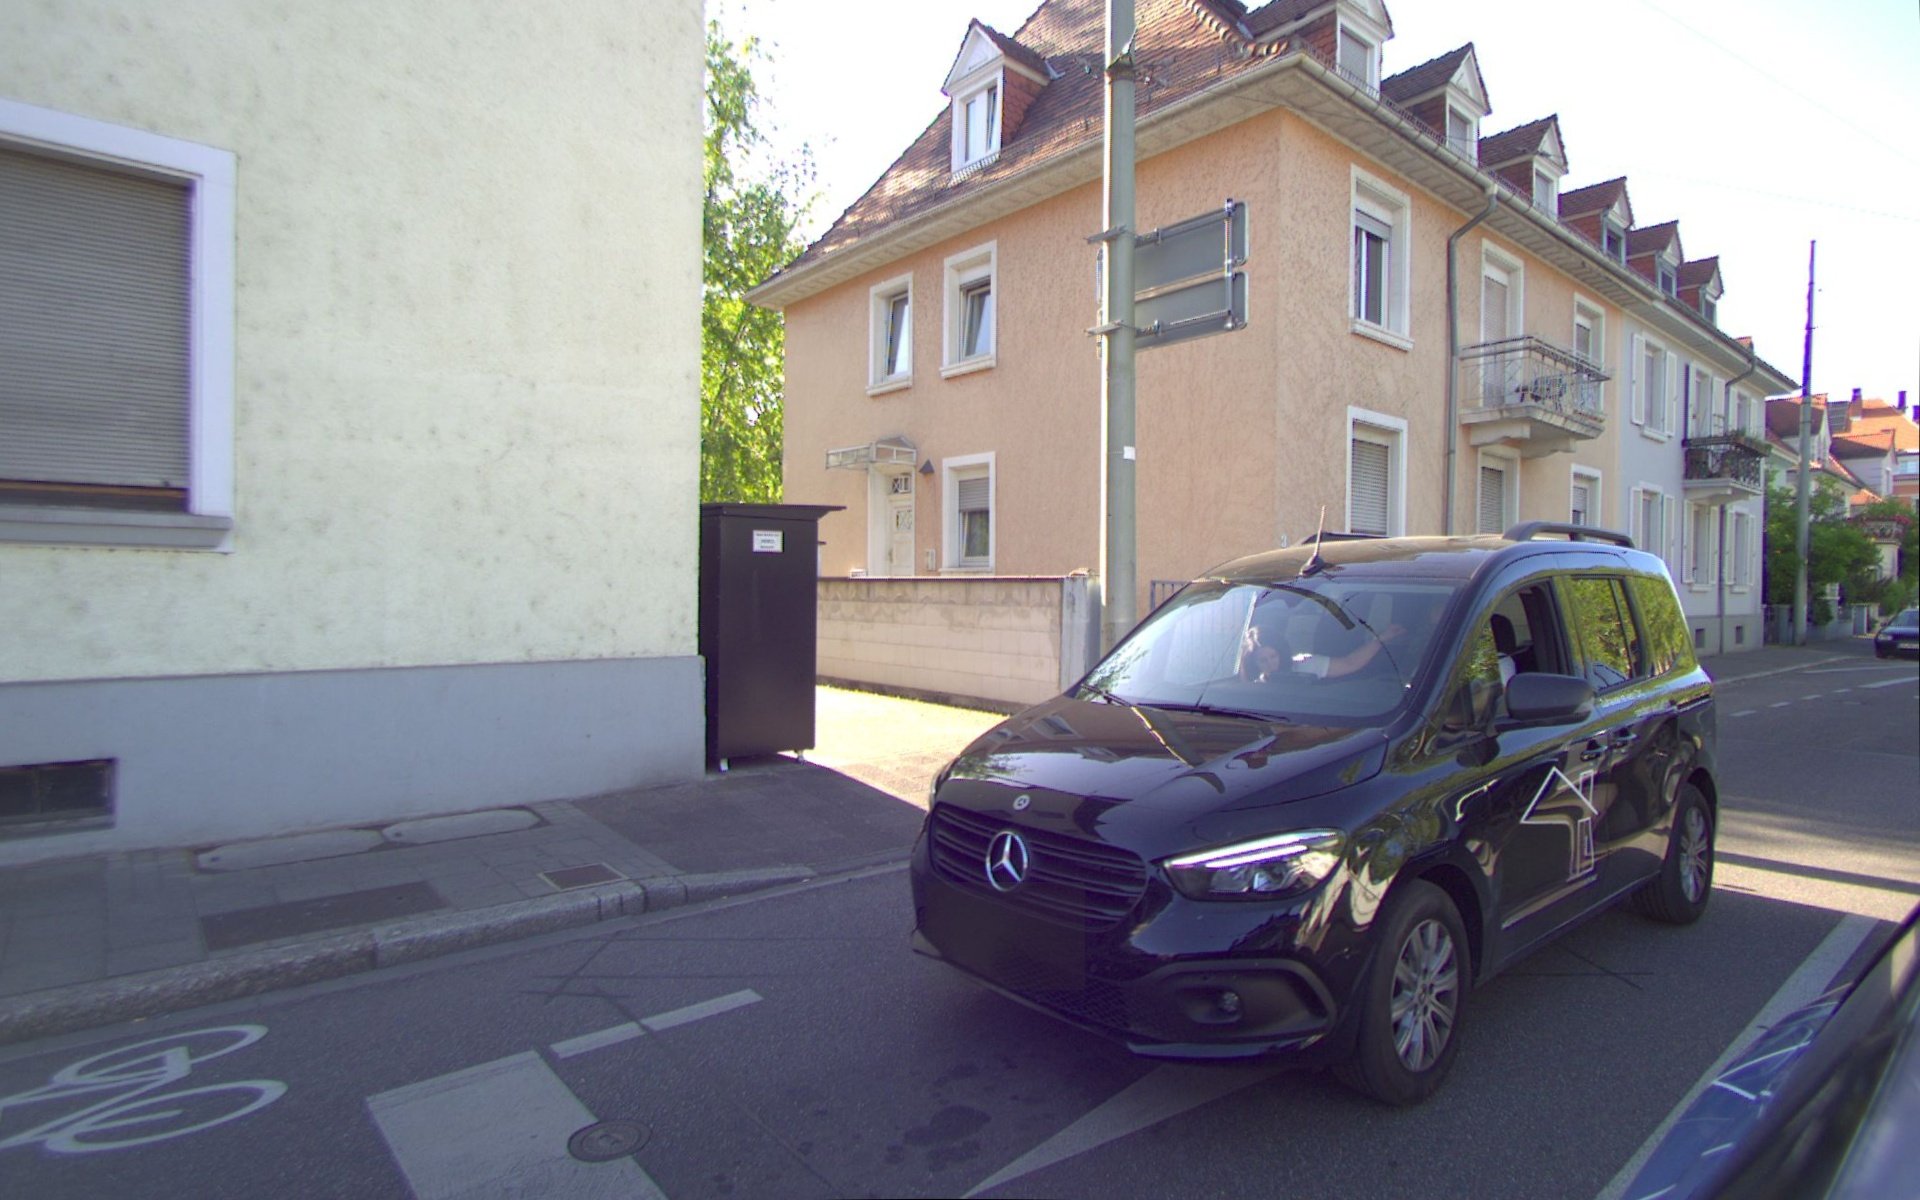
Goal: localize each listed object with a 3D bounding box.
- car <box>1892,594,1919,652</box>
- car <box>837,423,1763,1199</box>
[{"bbox_3d":[26.651,0.600,27.276,3.930,1.476,1.839,-1,0,-41],"label":"car"},{"bbox_3d":[1.917,0.478,4.584,4.695,1.827,1.864,-1,0,-41],"label":"car"}]
